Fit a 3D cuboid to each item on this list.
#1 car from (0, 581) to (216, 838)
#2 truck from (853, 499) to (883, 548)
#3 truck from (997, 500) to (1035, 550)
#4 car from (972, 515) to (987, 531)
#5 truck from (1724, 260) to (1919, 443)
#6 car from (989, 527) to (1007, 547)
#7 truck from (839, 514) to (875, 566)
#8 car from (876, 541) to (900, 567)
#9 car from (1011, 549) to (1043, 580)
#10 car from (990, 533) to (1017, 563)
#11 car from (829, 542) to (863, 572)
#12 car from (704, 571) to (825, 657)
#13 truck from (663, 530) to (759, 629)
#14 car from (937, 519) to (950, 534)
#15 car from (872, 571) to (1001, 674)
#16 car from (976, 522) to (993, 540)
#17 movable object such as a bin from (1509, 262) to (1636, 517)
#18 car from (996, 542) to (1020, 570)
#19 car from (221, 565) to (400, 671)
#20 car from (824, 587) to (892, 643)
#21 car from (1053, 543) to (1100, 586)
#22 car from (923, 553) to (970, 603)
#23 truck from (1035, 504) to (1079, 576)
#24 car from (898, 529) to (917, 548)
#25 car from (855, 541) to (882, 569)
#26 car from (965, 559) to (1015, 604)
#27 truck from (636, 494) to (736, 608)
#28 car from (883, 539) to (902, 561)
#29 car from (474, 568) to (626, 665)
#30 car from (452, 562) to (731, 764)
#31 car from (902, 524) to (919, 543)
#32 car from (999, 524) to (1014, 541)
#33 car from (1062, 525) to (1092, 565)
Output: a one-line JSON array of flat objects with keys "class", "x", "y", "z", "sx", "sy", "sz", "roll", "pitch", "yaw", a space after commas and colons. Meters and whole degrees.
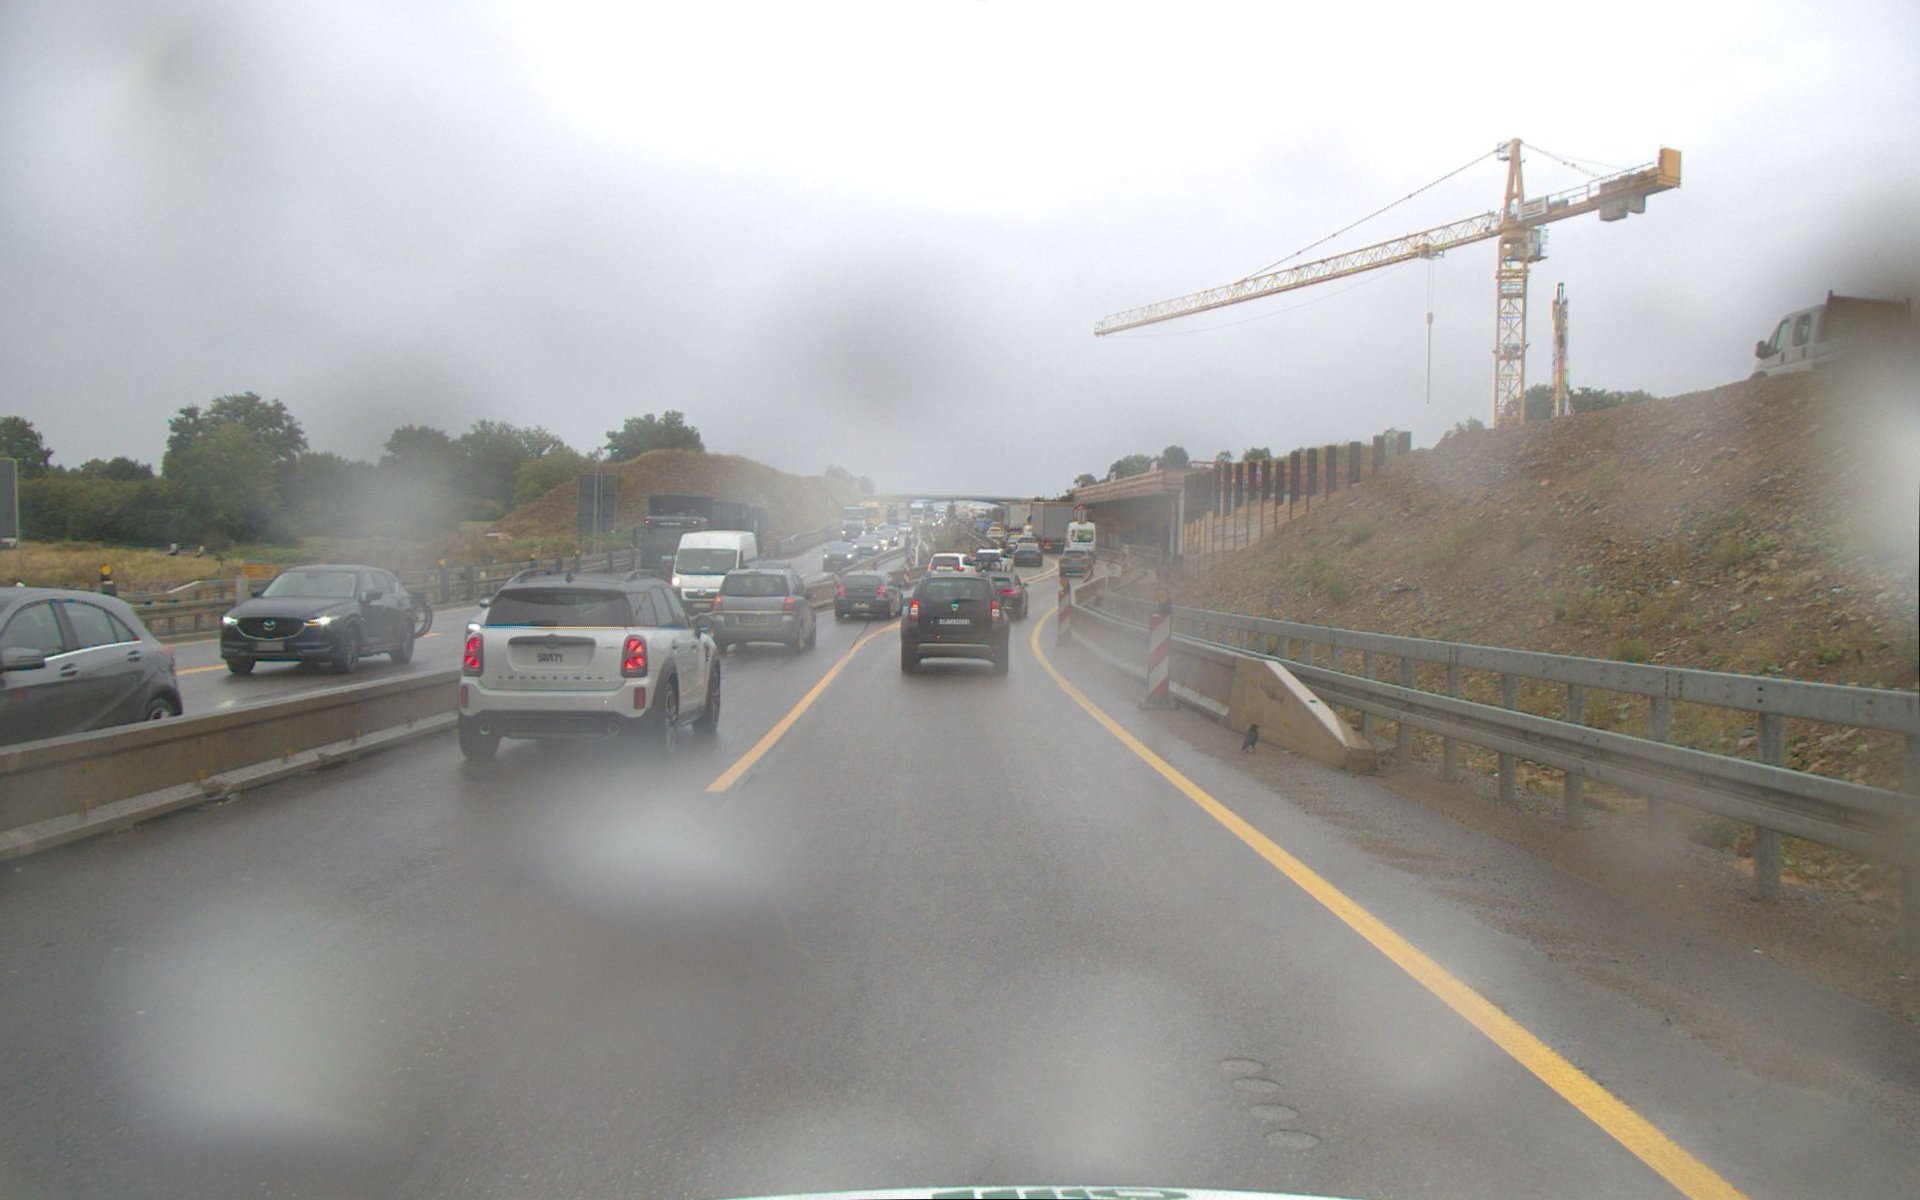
[{"class": "car", "x": -6.740, "y": 0.668, "z": 10.940, "sx": 1.750, "sy": 1.565, "sz": 4.311, "roll": 0, "pitch": 0, "yaw": -1}, {"class": "truck", "x": -10.997, "y": -9.163, "z": 198.980, "sx": 3.077, "sy": 5.512, "sz": 8.523, "roll": 1, "pitch": 1, "yaw": 0}, {"class": "truck", "x": 6.595, "y": -8.851, "z": 197.081, "sx": 3.727, "sy": 5.131, "sz": 12.916, "roll": 0, "pitch": -1, "yaw": -1}, {"class": "car", "x": 2.658, "y": -10.493, "z": 224.714, "sx": 1.953, "sy": 2.049, "sz": 3.999, "roll": 0, "pitch": 1, "yaw": -1}, {"class": "truck", "x": 18.749, "y": -4.936, "z": 34.142, "sx": 2.592, "sy": 2.599, "sz": 6.982, "roll": 0, "pitch": -1, "yaw": -2}, {"class": "car", "x": 4.163, "y": -6.883, "z": 181.505, "sx": 1.811, "sy": 1.927, "sz": 4.021, "roll": 0, "pitch": -1, "yaw": 0}, {"class": "truck", "x": -10.264, "y": -5.945, "z": 165.317, "sx": 3.020, "sy": 5.005, "sz": 8.564, "roll": 1, "pitch": 1, "yaw": 0}, {"class": "car", "x": -5.784, "y": -3.680, "z": 132.816, "sx": 1.749, "sy": 1.841, "sz": 4.498, "roll": 0, "pitch": -1, "yaw": -1}, {"class": "car", "x": 4.294, "y": -2.271, "z": 106.408, "sx": 1.952, "sy": 1.792, "sz": 3.814, "roll": 0, "pitch": -1, "yaw": 0}, {"class": "car", "x": 3.455, "y": -4.113, "z": 131.487, "sx": 1.951, "sy": 2.201, "sz": 4.142, "roll": 0, "pitch": -1, "yaw": 4}, {"class": "car", "x": -6.797, "y": -2.568, "z": 98.861, "sx": 1.702, "sy": 1.714, "sz": 5.551, "roll": 1, "pitch": 1, "yaw": -1}, {"class": "car", "x": -3.869, "y": 0.300, "z": 33.443, "sx": 1.953, "sy": 1.628, "sz": 4.140, "roll": 0, "pitch": -1, "yaw": 0}, {"class": "truck", "x": -7.365, "y": -0.622, "z": 49.516, "sx": 2.104, "sy": 2.761, "sz": 6.014, "roll": 1, "pitch": 1, "yaw": -2}, {"class": "car", "x": -2.494, "y": -11.052, "z": 248.669, "sx": 1.953, "sy": 2.049, "sz": 3.998, "roll": 0, "pitch": -1, "yaw": -1}, {"class": "car", "x": -0.381, "y": 0.394, "z": 28.325, "sx": 2.039, "sy": 1.628, "sz": 4.140, "roll": 0, "pitch": -1, "yaw": 0}, {"class": "car", "x": 2.919, "y": -8.351, "z": 199.381, "sx": 1.953, "sy": 2.049, "sz": 3.999, "roll": 0, "pitch": 1, "yaw": -1}, {"class": "movable object such as a bin", "x": 30.052, "y": -9.989, "z": 81.732, "sx": 4.618, "sy": 11.032, "sz": 10.311, "roll": 0, "pitch": -1, "yaw": 13}, {"class": "car", "x": 4.163, "y": -3.790, "z": 143.057, "sx": 1.952, "sy": 2.201, "sz": 4.140, "roll": 0, "pitch": -1, "yaw": 0}, {"class": "car", "x": -10.178, "y": 0.249, "z": 26.195, "sx": 1.693, "sy": 1.550, "sz": 3.870, "roll": 0, "pitch": 0, "yaw": -7}, {"class": "car", "x": -3.050, "y": 0.471, "z": 50.244, "sx": 1.953, "sy": 1.628, "sz": 4.138, "roll": 1, "pitch": -1, "yaw": -2}, {"class": "car", "x": 6.470, "y": -1.930, "z": 91.272, "sx": 1.951, "sy": 2.201, "sz": 4.143, "roll": 0, "pitch": -1, "yaw": 13}, {"class": "car", "x": -0.619, "y": -0.972, "z": 71.570, "sx": 1.953, "sy": 2.048, "sz": 3.893, "roll": 1, "pitch": 1, "yaw": -2}, {"class": "truck", "x": 8.109, "y": -4.876, "z": 137.543, "sx": 3.035, "sy": 5.521, "sz": 9.449, "roll": 0, "pitch": -1, "yaw": 7}, {"class": "car", "x": -6.681, "y": -7.850, "z": 211.523, "sx": 2.192, "sy": 2.400, "sz": 4.877, "roll": 1, "pitch": 1, "yaw": 0}, {"class": "car", "x": -6.570, "y": -3.227, "z": 118.834, "sx": 1.749, "sy": 1.841, "sz": 4.498, "roll": 0, "pitch": -1, "yaw": -1}, {"class": "car", "x": 1.579, "y": -0.928, "z": 86.116, "sx": 1.951, "sy": 2.201, "sz": 4.144, "roll": 0, "pitch": -1, "yaw": 10}, {"class": "truck", "x": -10.432, "y": -1.874, "z": 63.737, "sx": 2.588, "sy": 4.039, "sz": 9.211, "roll": 1, "pitch": 1, "yaw": -2}, {"class": "car", "x": -6.221, "y": -4.639, "z": 152.931, "sx": 1.589, "sy": 1.841, "sz": 3.636, "roll": 0, "pitch": -1, "yaw": 0}, {"class": "car", "x": -7.012, "y": 0.249, "z": 28.704, "sx": 1.643, "sy": 1.550, "sz": 4.344, "roll": 0, "pitch": 0, "yaw": -1}, {"class": "car", "x": -3.282, "y": 0.524, "z": 15.571, "sx": 1.779, "sy": 1.628, "sz": 4.306, "roll": 0, "pitch": 0, "yaw": -2}, {"class": "car", "x": -6.760, "y": -9.049, "z": 225.859, "sx": 2.171, "sy": 2.411, "sz": 4.664, "roll": 1, "pitch": 1, "yaw": 0}, {"class": "car", "x": 6.601, "y": -9.624, "z": 236.192, "sx": 1.953, "sy": 2.049, "sz": 3.998, "roll": 0, "pitch": -1, "yaw": -2}, {"class": "car", "x": 8.111, "y": -3.821, "z": 115.194, "sx": 1.952, "sy": 2.528, "sz": 4.983, "roll": 0, "pitch": -1, "yaw": 3}]
